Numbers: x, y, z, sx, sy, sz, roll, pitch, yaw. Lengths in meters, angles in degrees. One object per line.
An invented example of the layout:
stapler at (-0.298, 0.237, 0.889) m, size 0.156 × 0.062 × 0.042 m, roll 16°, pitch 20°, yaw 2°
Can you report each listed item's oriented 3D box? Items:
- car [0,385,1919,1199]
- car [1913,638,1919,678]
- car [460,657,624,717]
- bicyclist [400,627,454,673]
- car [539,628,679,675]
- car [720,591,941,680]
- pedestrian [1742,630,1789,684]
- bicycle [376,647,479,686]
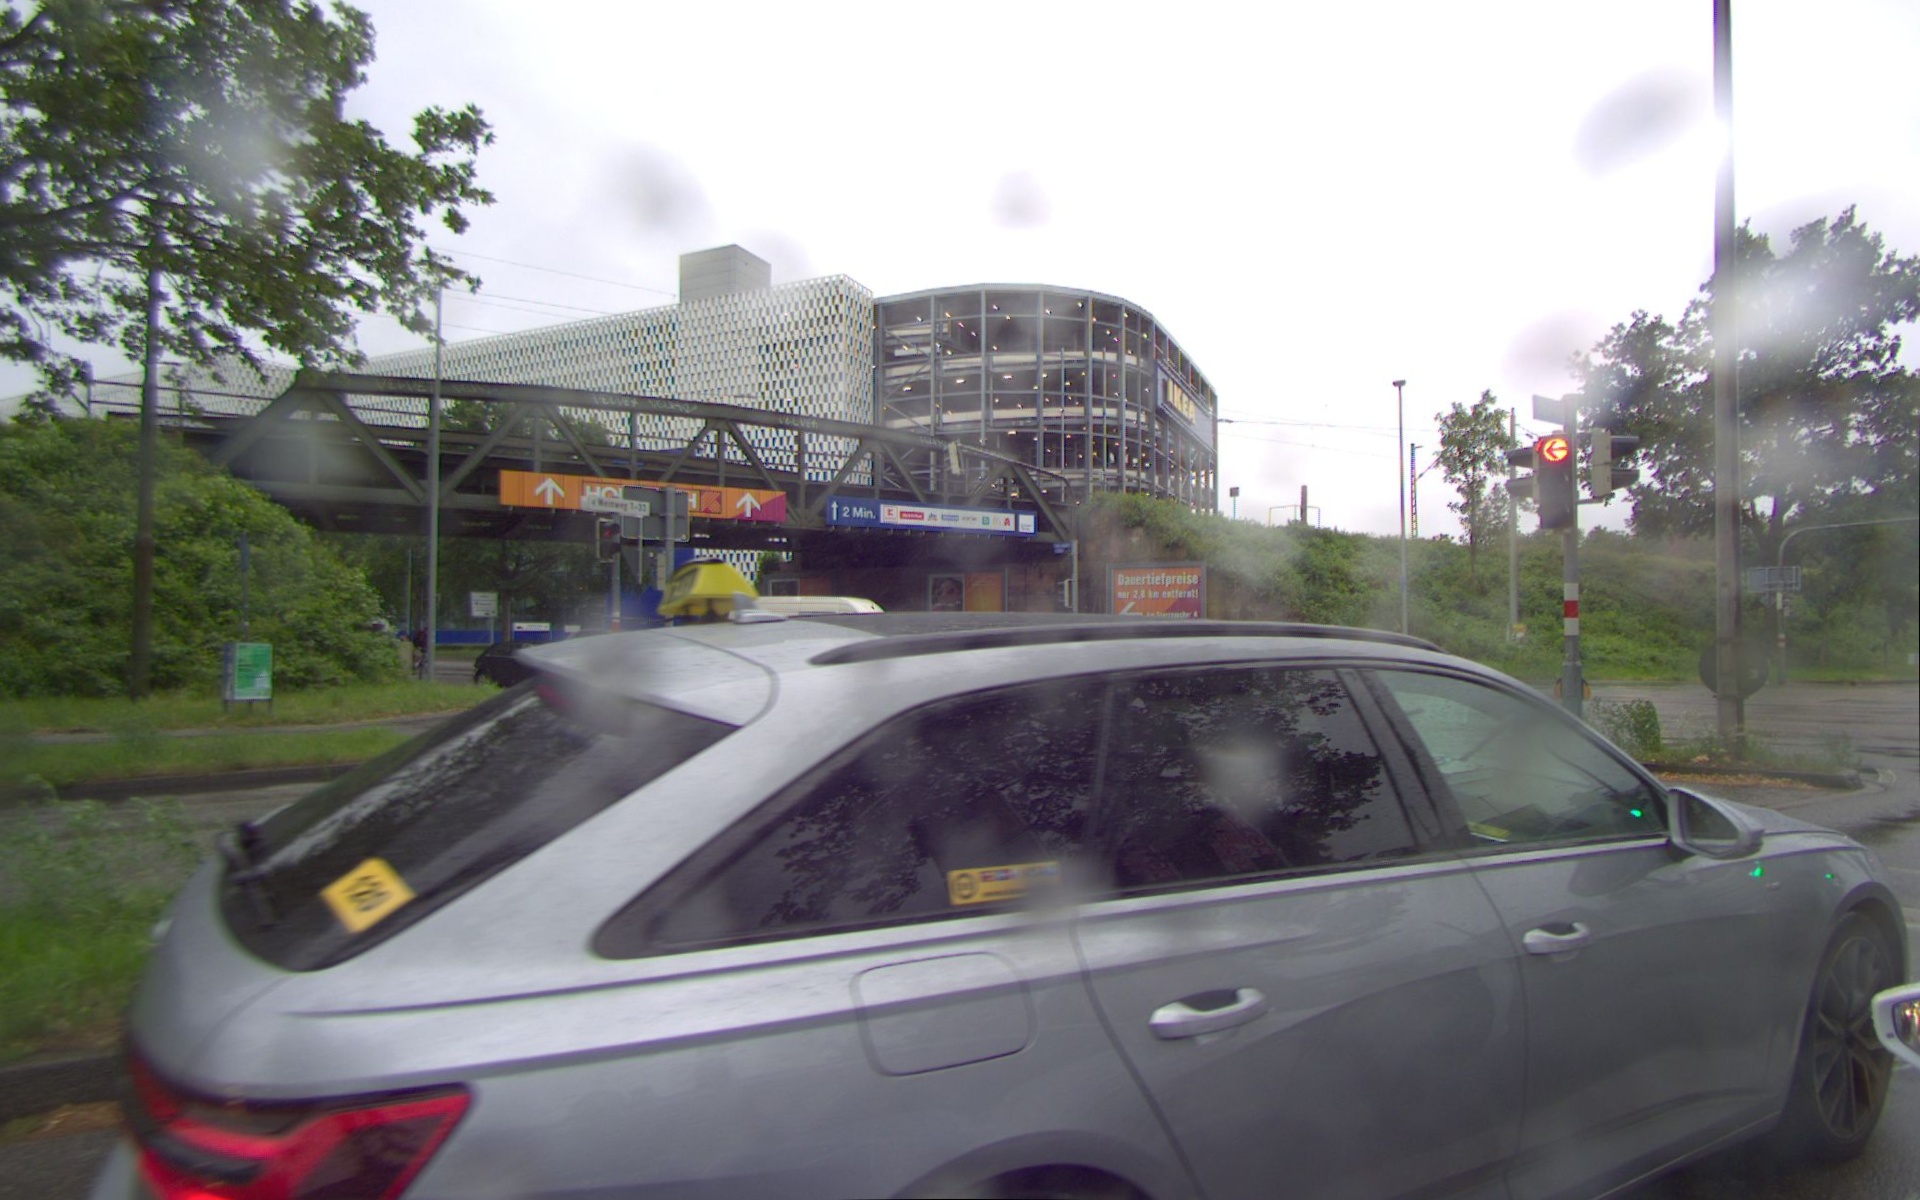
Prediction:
car at (0.811, 0.686, 2.703) m, size 4.767 × 1.595 × 1.760 m, roll 2°, pitch 0°, yaw -32°
car at (37.719, 2.187, 37.935) m, size 3.746 × 1.471 × 1.629 m, roll 2°, pitch -3°, yaw -33°
car at (-11.238, 2.285, 27.007) m, size 4.067 × 1.453 × 1.693 m, roll -1°, pitch -1°, yaw 22°
bicyclist at (-17.636, 1.655, 33.259) m, size 1.037 × 1.503 × 1.152 m, roll -1°, pitch -2°, yaw 25°
car at (-12.800, 1.832, 36.607) m, size 4.858 × 1.621 × 1.882 m, roll -1°, pitch -2°, yaw 24°
car at (-4.221, 1.147, 32.469) m, size 6.846 × 2.645 × 2.386 m, roll -1°, pitch -2°, yaw 25°
pedestrian at (28.488, 2.012, 35.524) m, size 1.122 × 1.871 × 1.092 m, roll 2°, pitch -3°, yaw -42°
bicycle at (-17.639, 2.175, 33.241) m, size 3.385 × 1.220 × 1.199 m, roll -1°, pitch -3°, yaw 25°
